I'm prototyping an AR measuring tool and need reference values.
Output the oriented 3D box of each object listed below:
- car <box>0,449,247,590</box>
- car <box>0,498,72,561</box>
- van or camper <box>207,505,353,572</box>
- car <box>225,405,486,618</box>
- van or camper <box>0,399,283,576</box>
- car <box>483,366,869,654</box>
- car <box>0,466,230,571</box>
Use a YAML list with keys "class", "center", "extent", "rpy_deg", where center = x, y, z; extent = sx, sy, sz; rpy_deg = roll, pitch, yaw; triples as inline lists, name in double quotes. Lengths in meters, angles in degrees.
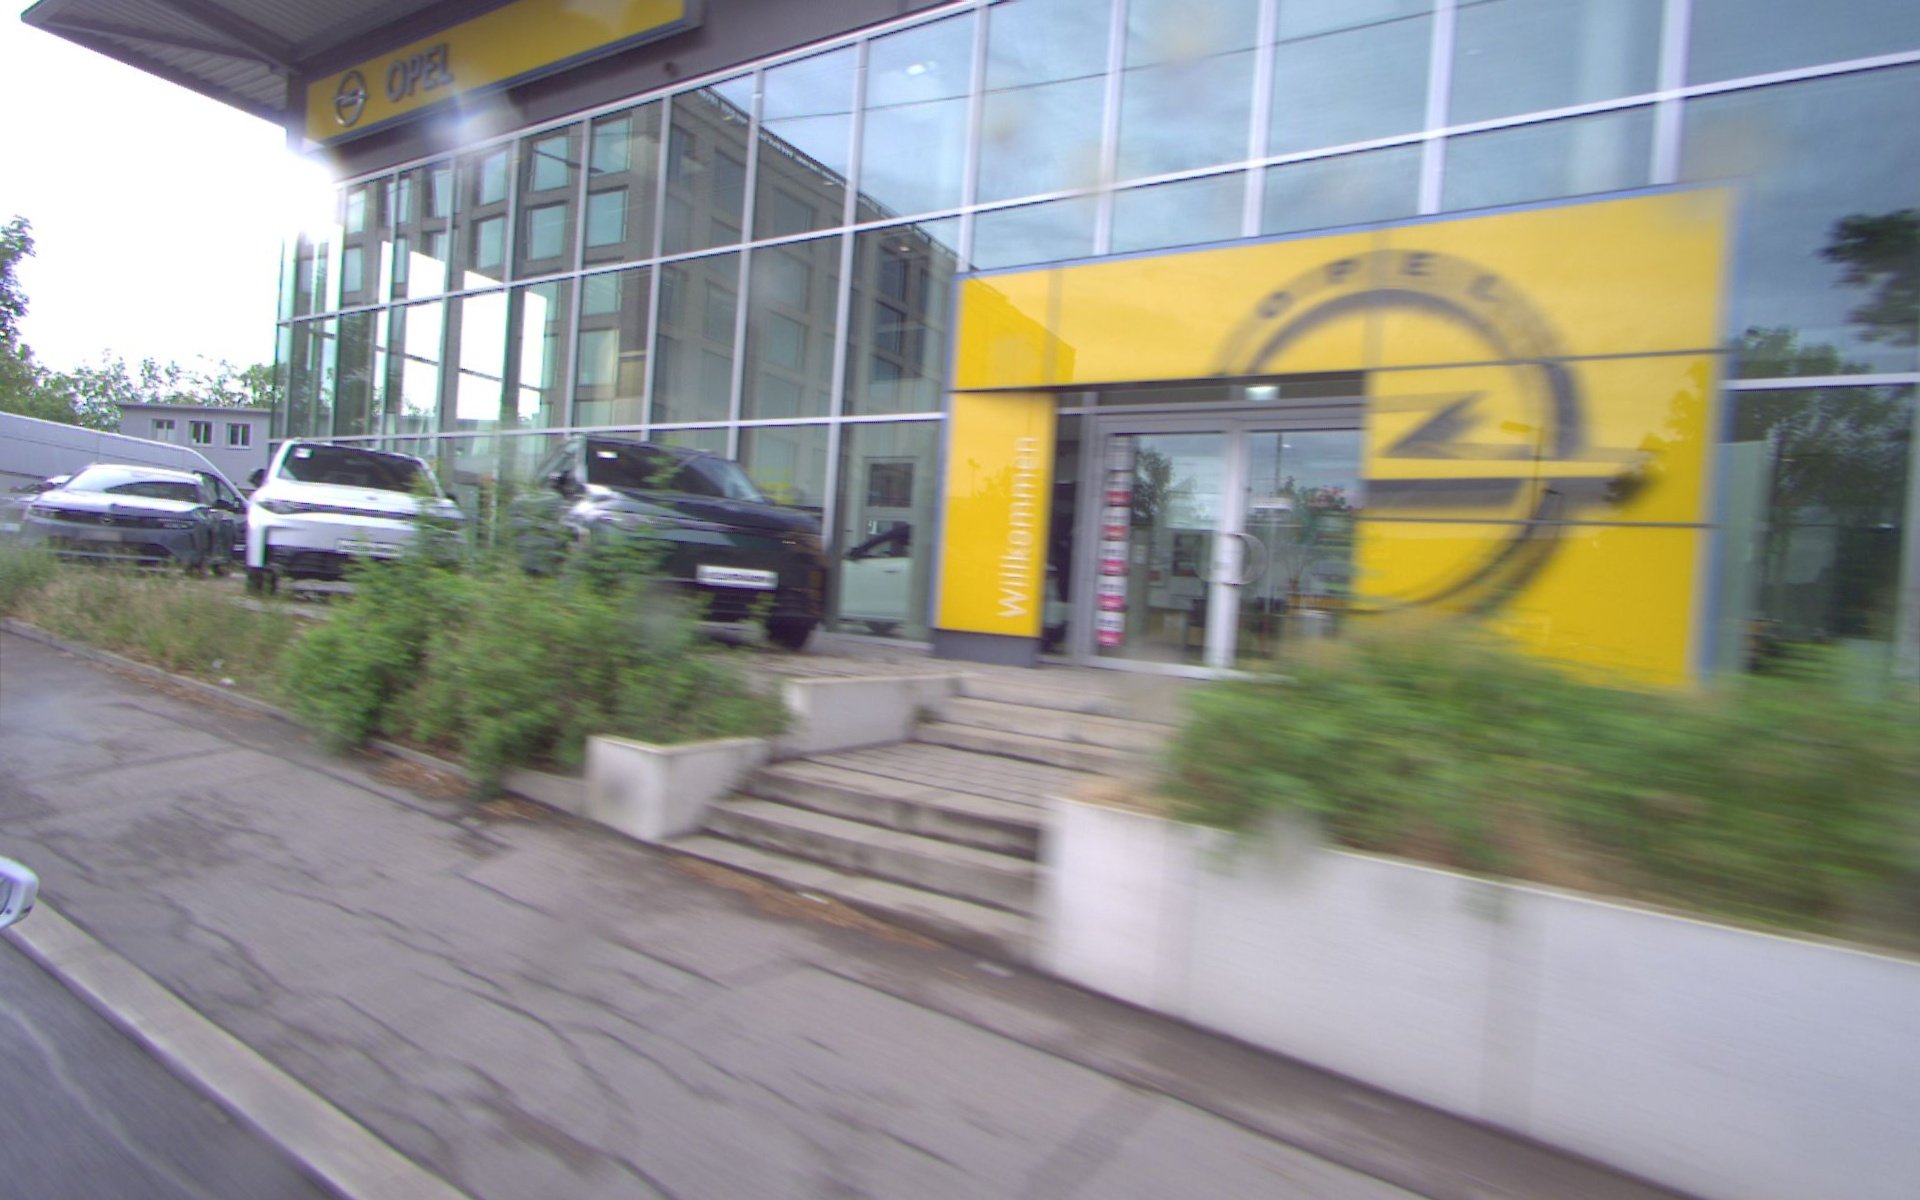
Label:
- class: "car"
  center: [-11.213, -1.037, 13.801]
  extent: [1.894, 1.474, 4.535]
  rpy_deg: [3, 1, -31]
- class: "car"
  center: [-25.149, -1.949, 25.172]
  extent: [1.863, 1.446, 3.990]
  rpy_deg: [7, 0, 32]
- class: "van or camper"
  center: [-30.875, -2.728, 45.914]
  extent: [2.244, 2.523, 5.282]
  rpy_deg: [7, 2, 14]
- class: "car"
  center: [-6.747, -0.879, 11.050]
  extent: [1.980, 1.733, 4.534]
  rpy_deg: [3, 2, -35]
- class: "van or camper"
  center: [-17.318, -2.207, 20.064]
  extent: [2.313, 2.757, 5.744]
  rpy_deg: [7, 0, 31]
- class: "car"
  center: [-2.700, -0.648, 8.637]
  extent: [1.978, 1.733, 4.391]
  rpy_deg: [3, 2, -32]
- class: "car"
  center: [-14.513, -1.300, 16.873]
  extent: [1.883, 1.474, 4.507]
  rpy_deg: [4, 1, -11]
